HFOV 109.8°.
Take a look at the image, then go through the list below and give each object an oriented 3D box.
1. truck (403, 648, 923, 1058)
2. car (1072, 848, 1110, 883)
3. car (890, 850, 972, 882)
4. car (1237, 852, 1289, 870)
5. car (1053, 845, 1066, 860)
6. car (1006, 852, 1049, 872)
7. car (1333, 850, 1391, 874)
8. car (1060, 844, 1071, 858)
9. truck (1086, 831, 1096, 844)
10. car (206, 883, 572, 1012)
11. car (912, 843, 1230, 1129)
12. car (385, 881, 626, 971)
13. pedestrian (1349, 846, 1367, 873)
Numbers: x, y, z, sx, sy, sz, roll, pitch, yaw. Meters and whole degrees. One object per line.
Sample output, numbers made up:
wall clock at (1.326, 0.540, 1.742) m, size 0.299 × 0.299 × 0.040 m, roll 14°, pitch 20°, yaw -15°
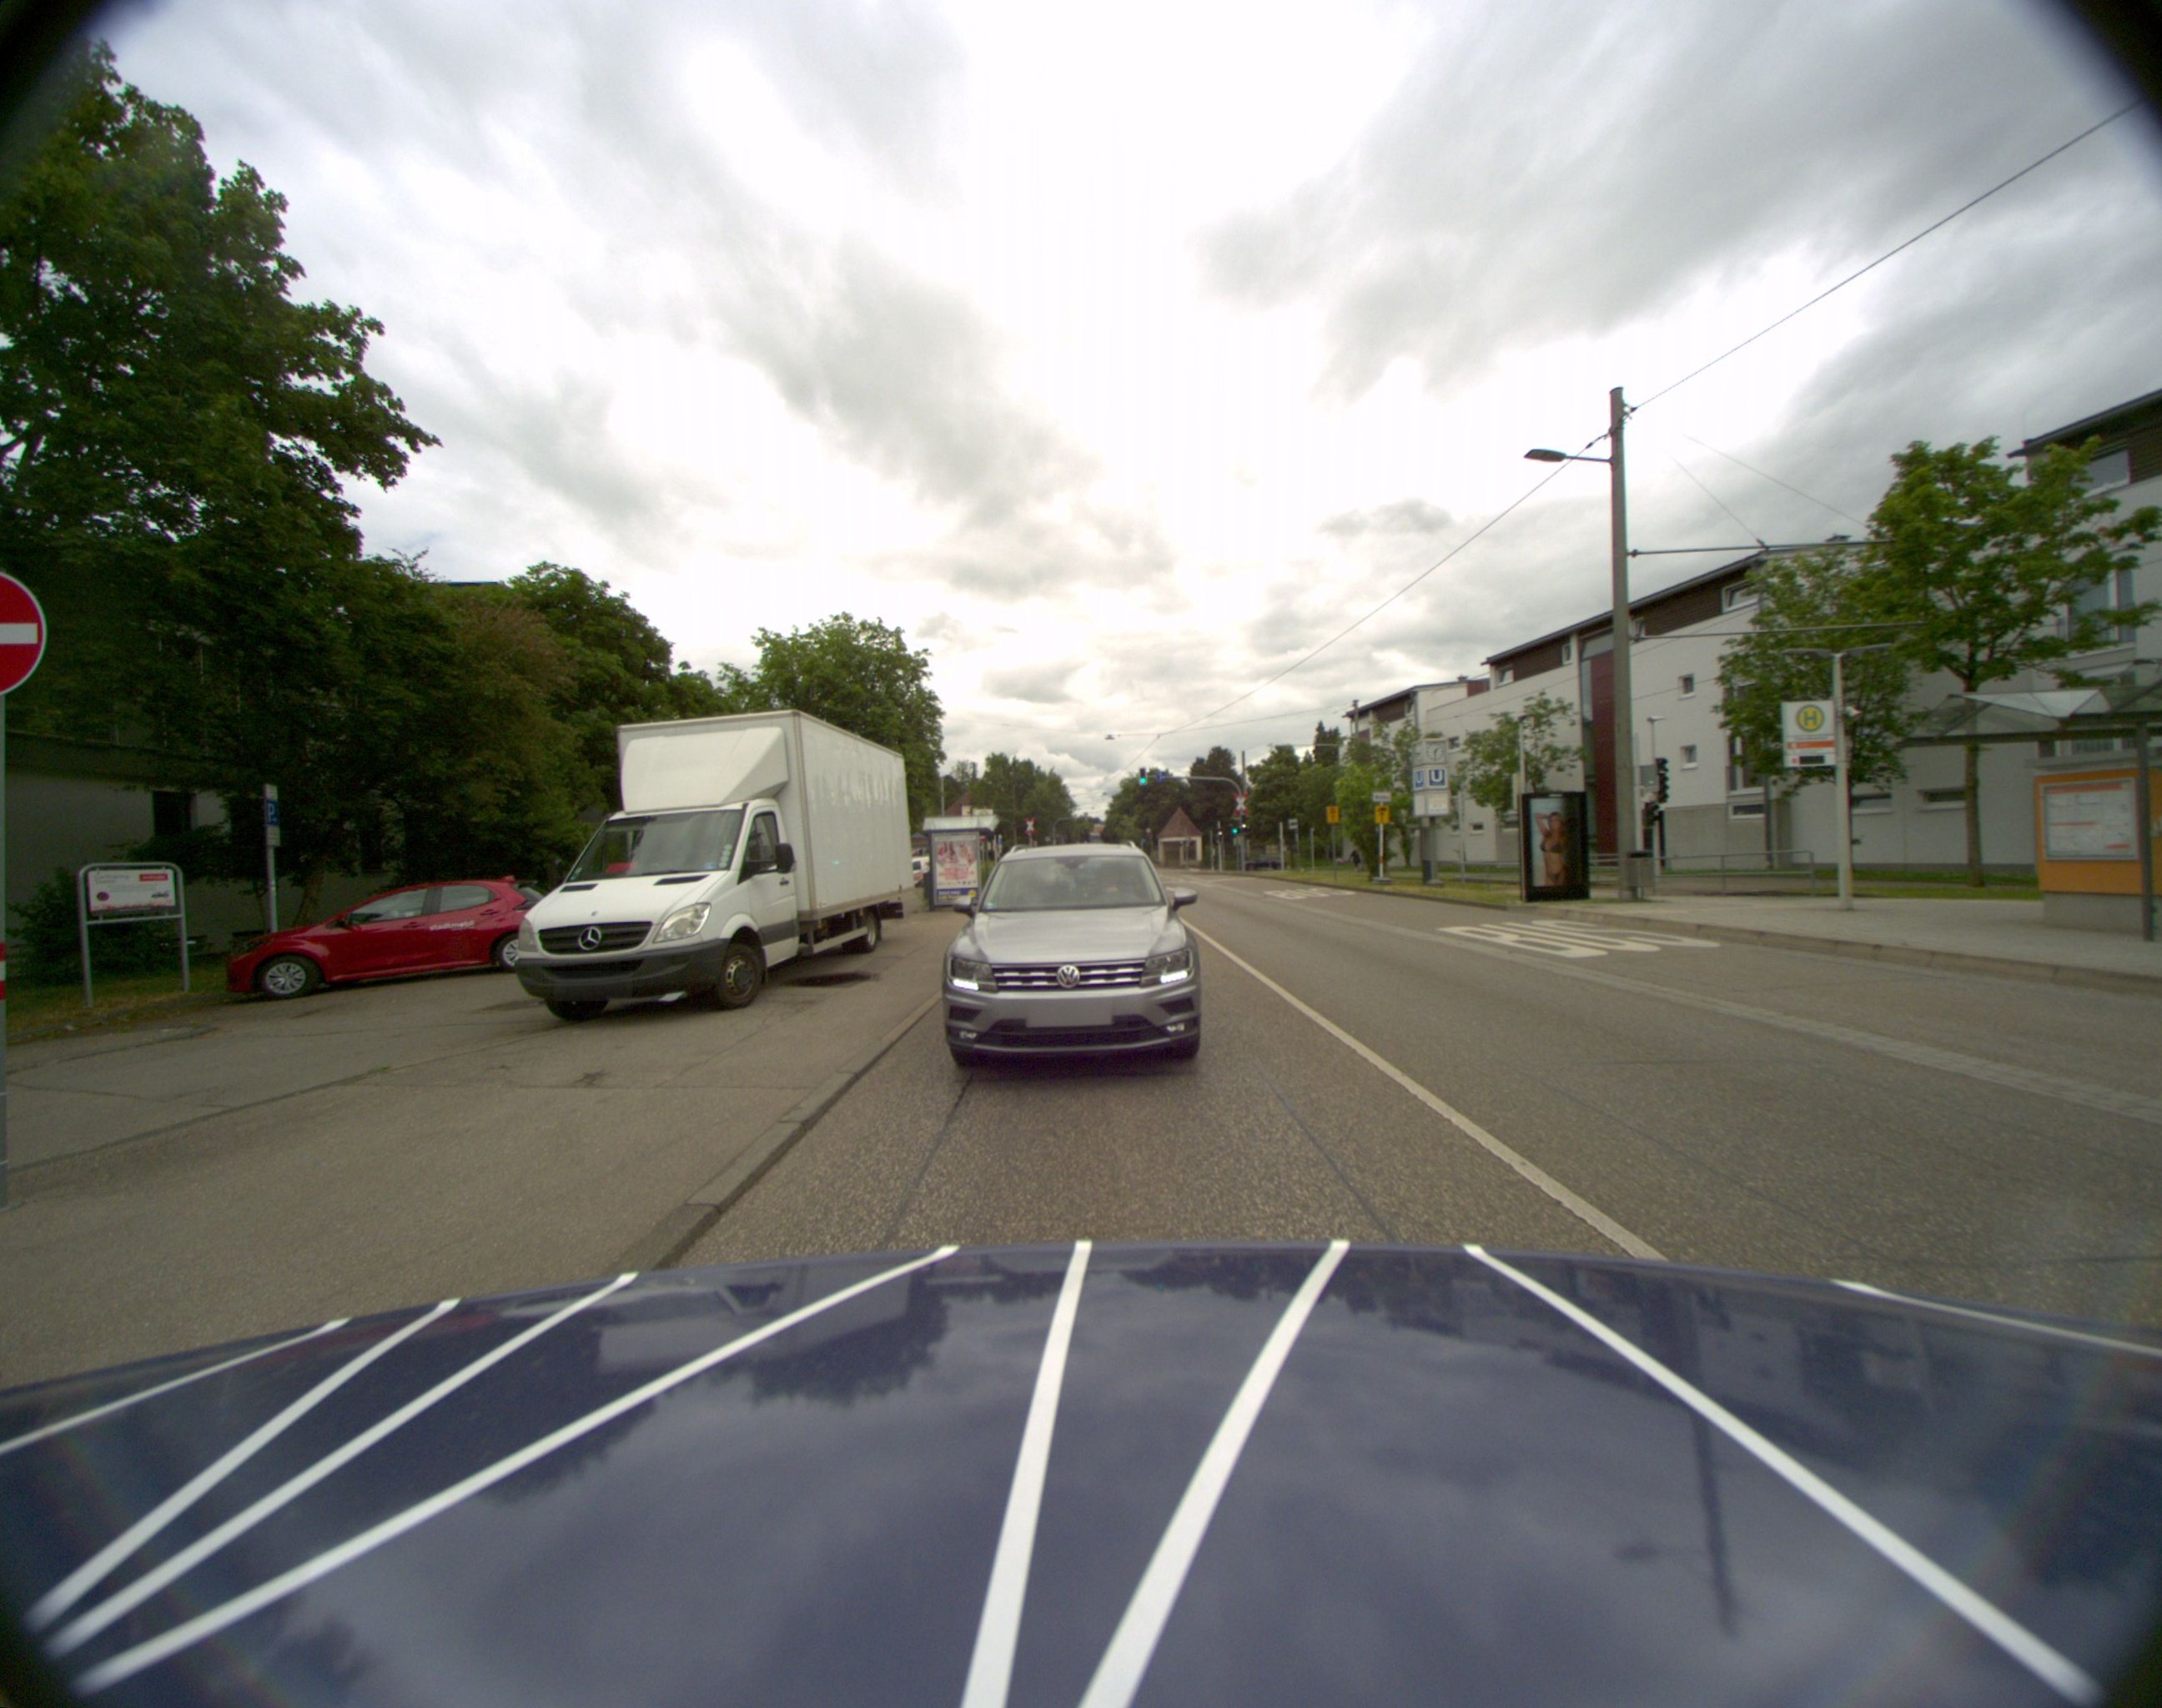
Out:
truck at (-4.491, -0.010, 10.580) m, size 2.579 × 3.504 × 7.810 m, roll -2°, pitch 0°, yaw 2°
car at (0.484, 0.577, 40.918) m, size 1.811 × 1.736 × 3.999 m, roll -2°, pitch 0°, yaw -2°
car at (-9.013, 0.697, 45.992) m, size 1.846 × 1.738 × 4.704 m, roll -2°, pitch 0°, yaw 38°
car at (17.675, 0.632, 74.010) m, size 4.488 × 1.660 × 1.964 m, roll 1°, pitch 0°, yaw -7°
car at (-3.725, -0.319, 132.464) m, size 2.095 × 2.589 × 6.679 m, roll -2°, pitch 1°, yaw -2°
car at (-5.258, 0.774, 75.197) m, size 4.008 × 1.740 × 1.846 m, roll -3°, pitch 1°, yaw -45°
car at (25.756, 0.705, 69.764) m, size 4.469 × 2.002 × 1.999 m, roll 2°, pitch 0°, yaw -6°
car at (-3.085, -0.568, 149.696) m, size 2.046 × 2.588 × 5.965 m, roll -2°, pitch 1°, yaw 0°
truck at (3.186, -5.054, 233.649) m, size 2.776 × 3.697 × 8.466 m, roll 0°, pitch 1°, yaw -1°
car at (-10.096, 1.285, 11.493) m, size 3.734 × 1.437 × 1.605 m, roll -3°, pitch 0°, yaw -26°
car at (-0.174, 0.777, 6.880) m, size 1.835 × 1.610 × 4.486 m, roll -4°, pitch 1°, yaw -3°
car at (-11.936, 1.427, 16.115) m, size 3.809 × 1.465 × 1.794 m, roll -3°, pitch 1°, yaw -30°
pedestrian at (16.903, 0.352, 46.396) m, size 0.677 × 1.634 × 0.819 m, roll -1°, pitch -1°, yaw -5°
